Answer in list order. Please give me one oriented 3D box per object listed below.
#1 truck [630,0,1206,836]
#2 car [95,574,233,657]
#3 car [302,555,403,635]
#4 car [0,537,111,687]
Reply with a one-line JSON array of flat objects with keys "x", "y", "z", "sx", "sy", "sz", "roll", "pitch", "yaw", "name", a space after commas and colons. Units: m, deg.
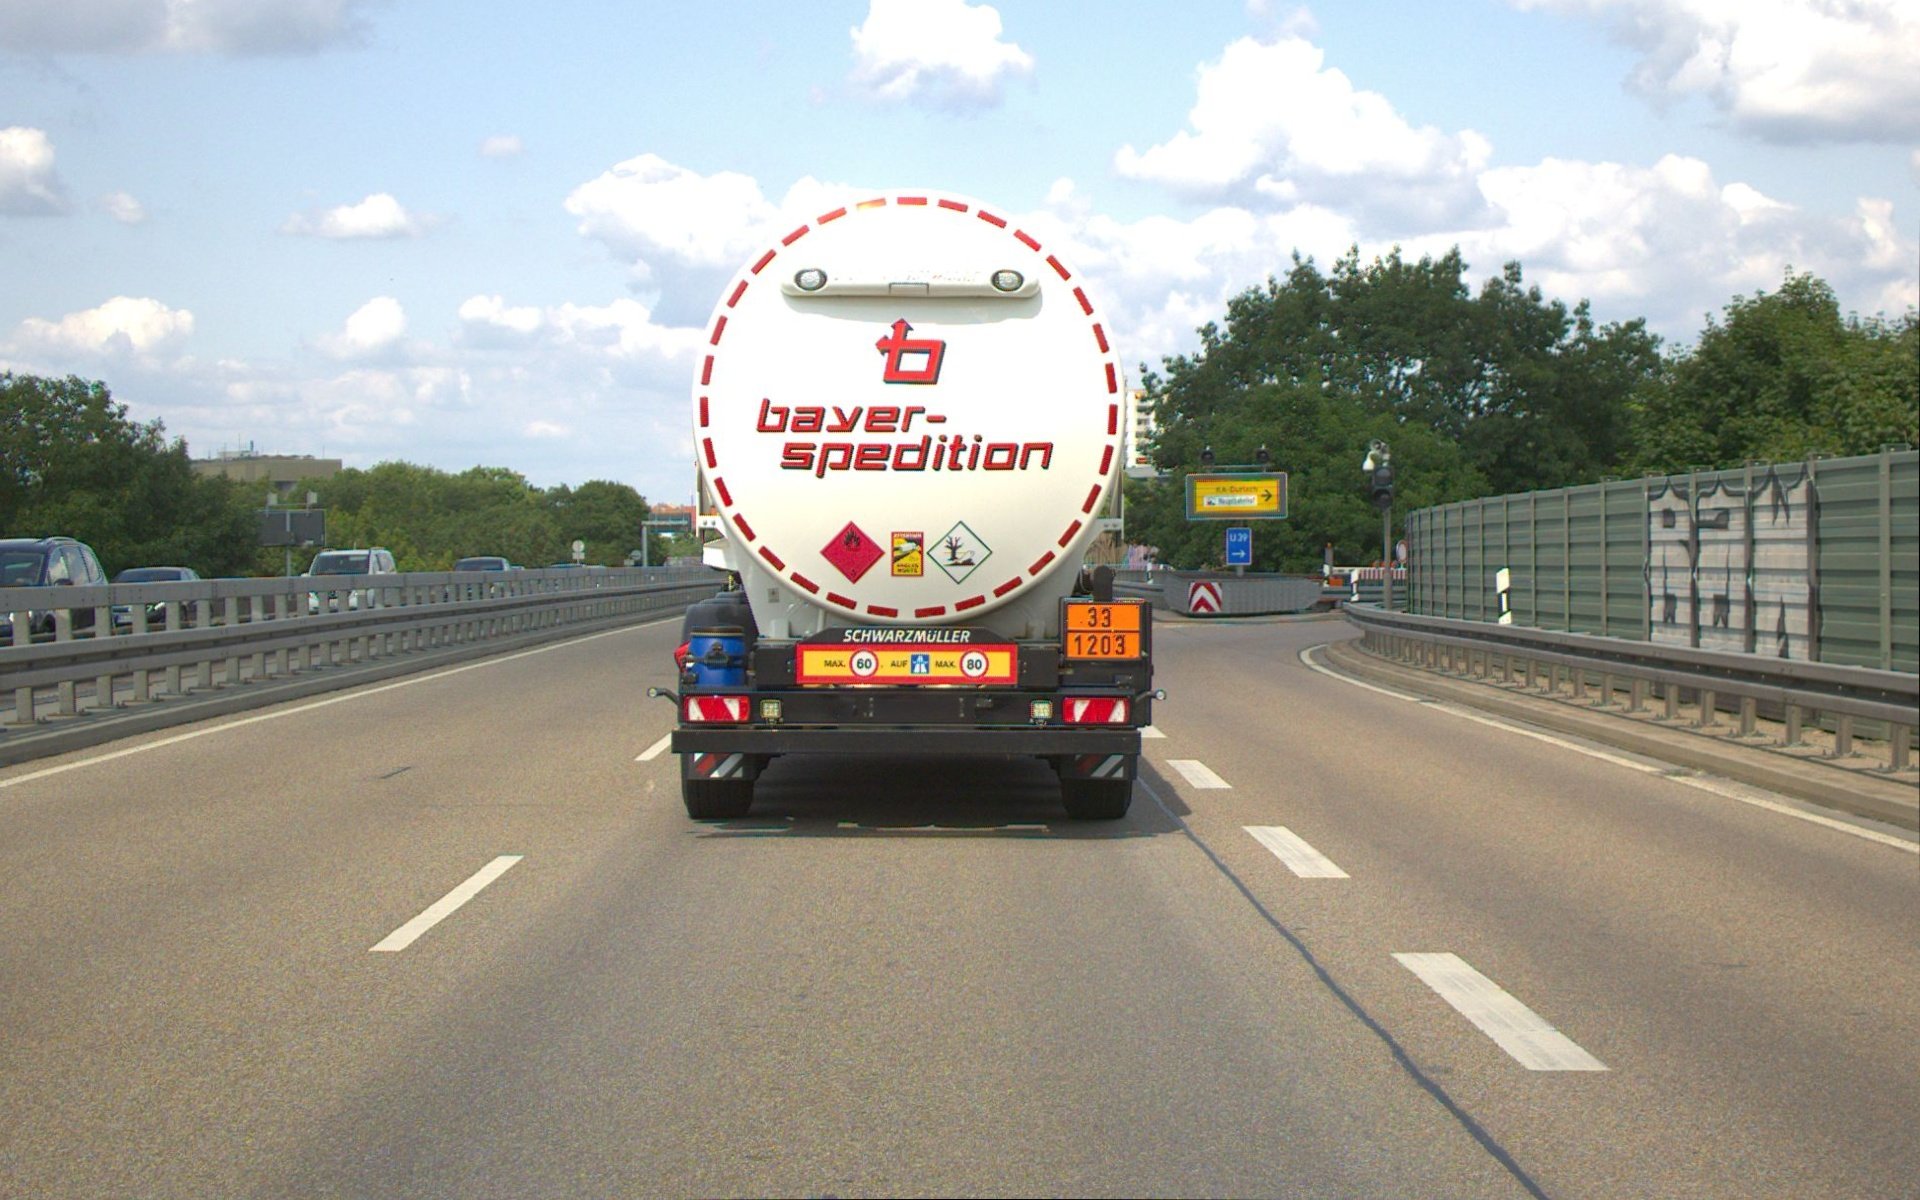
[{"x": -0.286, "y": -1.035, "z": 21.535, "sx": 2.895, "sy": 4.354, "sz": 8.030, "roll": 1, "pitch": 1, "yaw": -1, "name": "truck"}, {"x": -16.375, "y": 0.296, "z": 70.936, "sx": 1.923, "sy": 1.568, "sz": 4.245, "roll": -2, "pitch": 1, "yaw": -2, "name": "car"}, {"x": -15.970, "y": -0.155, "z": 90.561, "sx": 1.960, "sy": 1.918, "sz": 5.192, "roll": 1, "pitch": 2, "yaw": -3, "name": "car"}, {"x": -11.934, "y": 0.106, "z": 42.549, "sx": 1.993, "sy": 1.744, "sz": 4.597, "roll": 1, "pitch": 1, "yaw": -4, "name": "car"}]
